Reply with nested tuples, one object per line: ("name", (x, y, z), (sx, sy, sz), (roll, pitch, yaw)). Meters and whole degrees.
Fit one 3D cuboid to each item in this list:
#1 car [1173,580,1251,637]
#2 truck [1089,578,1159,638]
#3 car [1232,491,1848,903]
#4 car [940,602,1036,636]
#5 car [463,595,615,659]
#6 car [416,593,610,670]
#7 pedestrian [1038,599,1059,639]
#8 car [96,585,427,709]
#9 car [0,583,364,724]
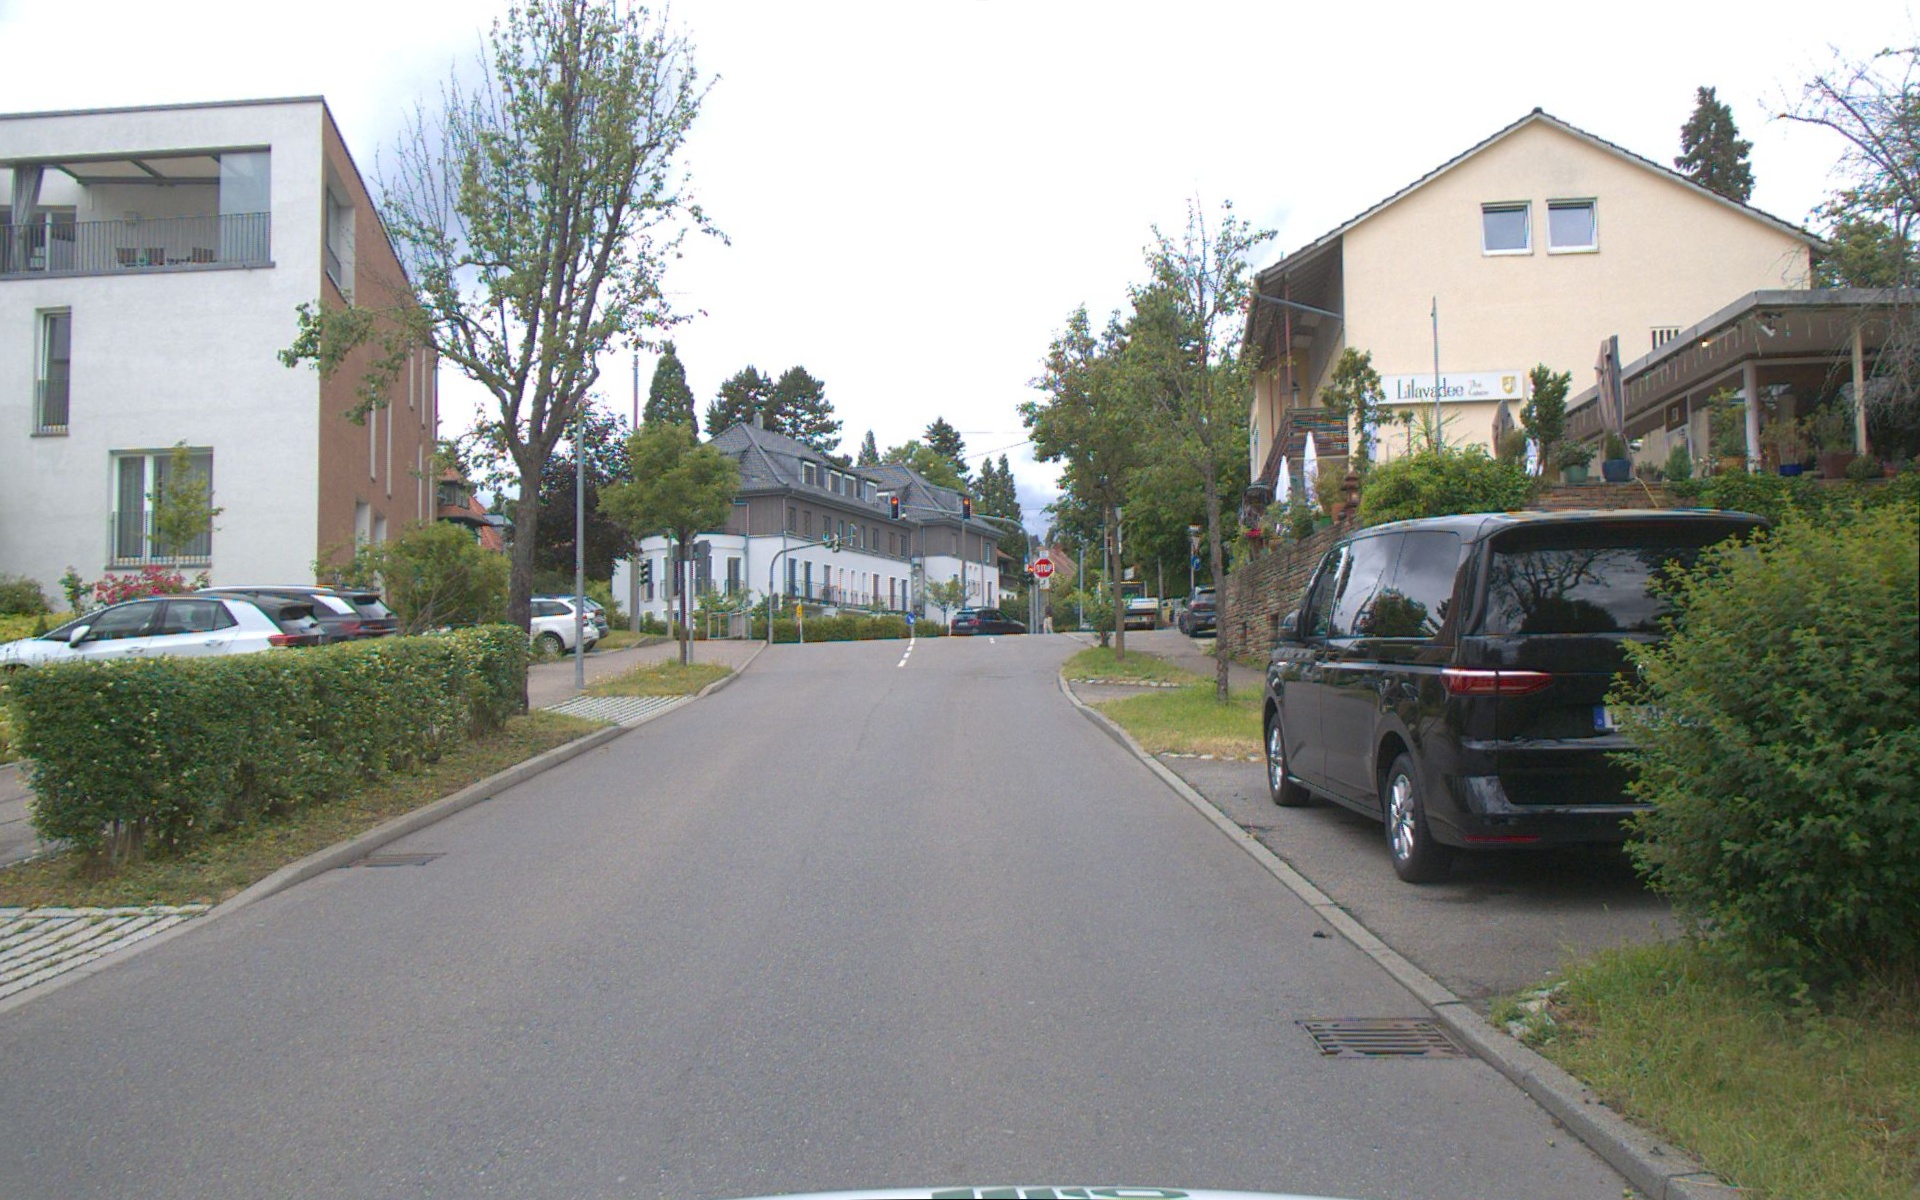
("car", (7.470, 0.254, 49.455), (1.810, 1.498, 4.387), (-3, 0, 3))
("truck", (6.778, 0.387, 69.033), (2.139, 2.234, 5.878), (-1, -3, -2))
("car", (3.122, 0.437, 10.275), (1.897, 1.870, 5.218), (-1, 0, -1))
("car", (1.389, 0.904, 80.854), (2.123, 1.517, 4.683), (-1, 0, 42))
("car", (-11.179, 0.698, 44.128), (3.688, 1.489, 1.729), (-2, 1, -7))
("car", (-10.756, 0.751, 40.051), (4.176, 1.651, 2.012), (-2, -1, -4))
("pedestrian", (3.859, 0.824, 72.149), (0.688, 1.711, 0.681), (-1, 0, -23))
("car", (-9.996, 0.645, 23.915), (3.905, 1.682, 2.008), (0, 0, 0))
("car", (-10.182, 0.654, 21.226), (4.299, 1.594, 2.065), (-2, 0, -3))
